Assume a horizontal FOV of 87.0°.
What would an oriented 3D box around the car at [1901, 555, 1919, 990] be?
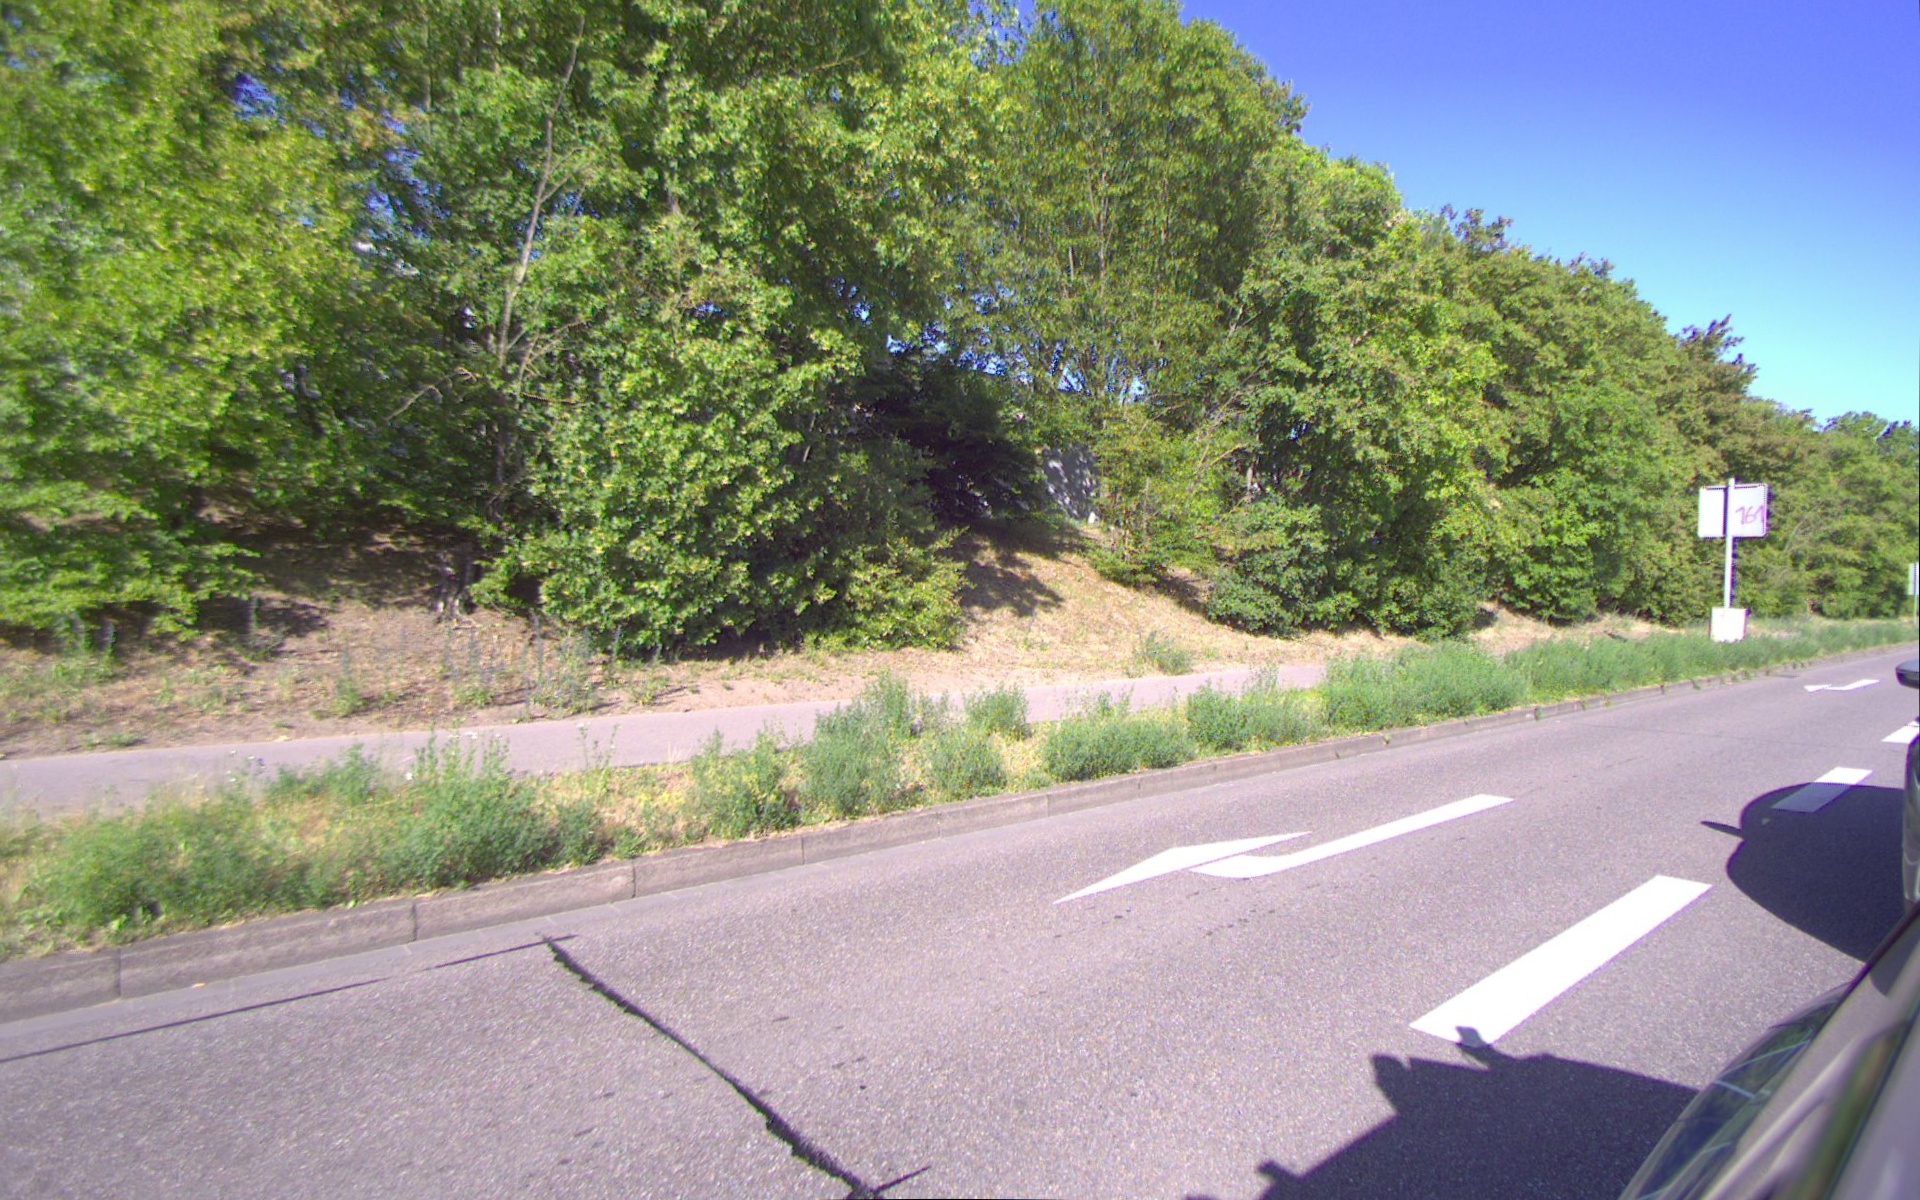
[{"bbox_3d":[5.601,0.655,4.355,3.863,1.617,1.869,0,0,-41],"label":"car"}]
